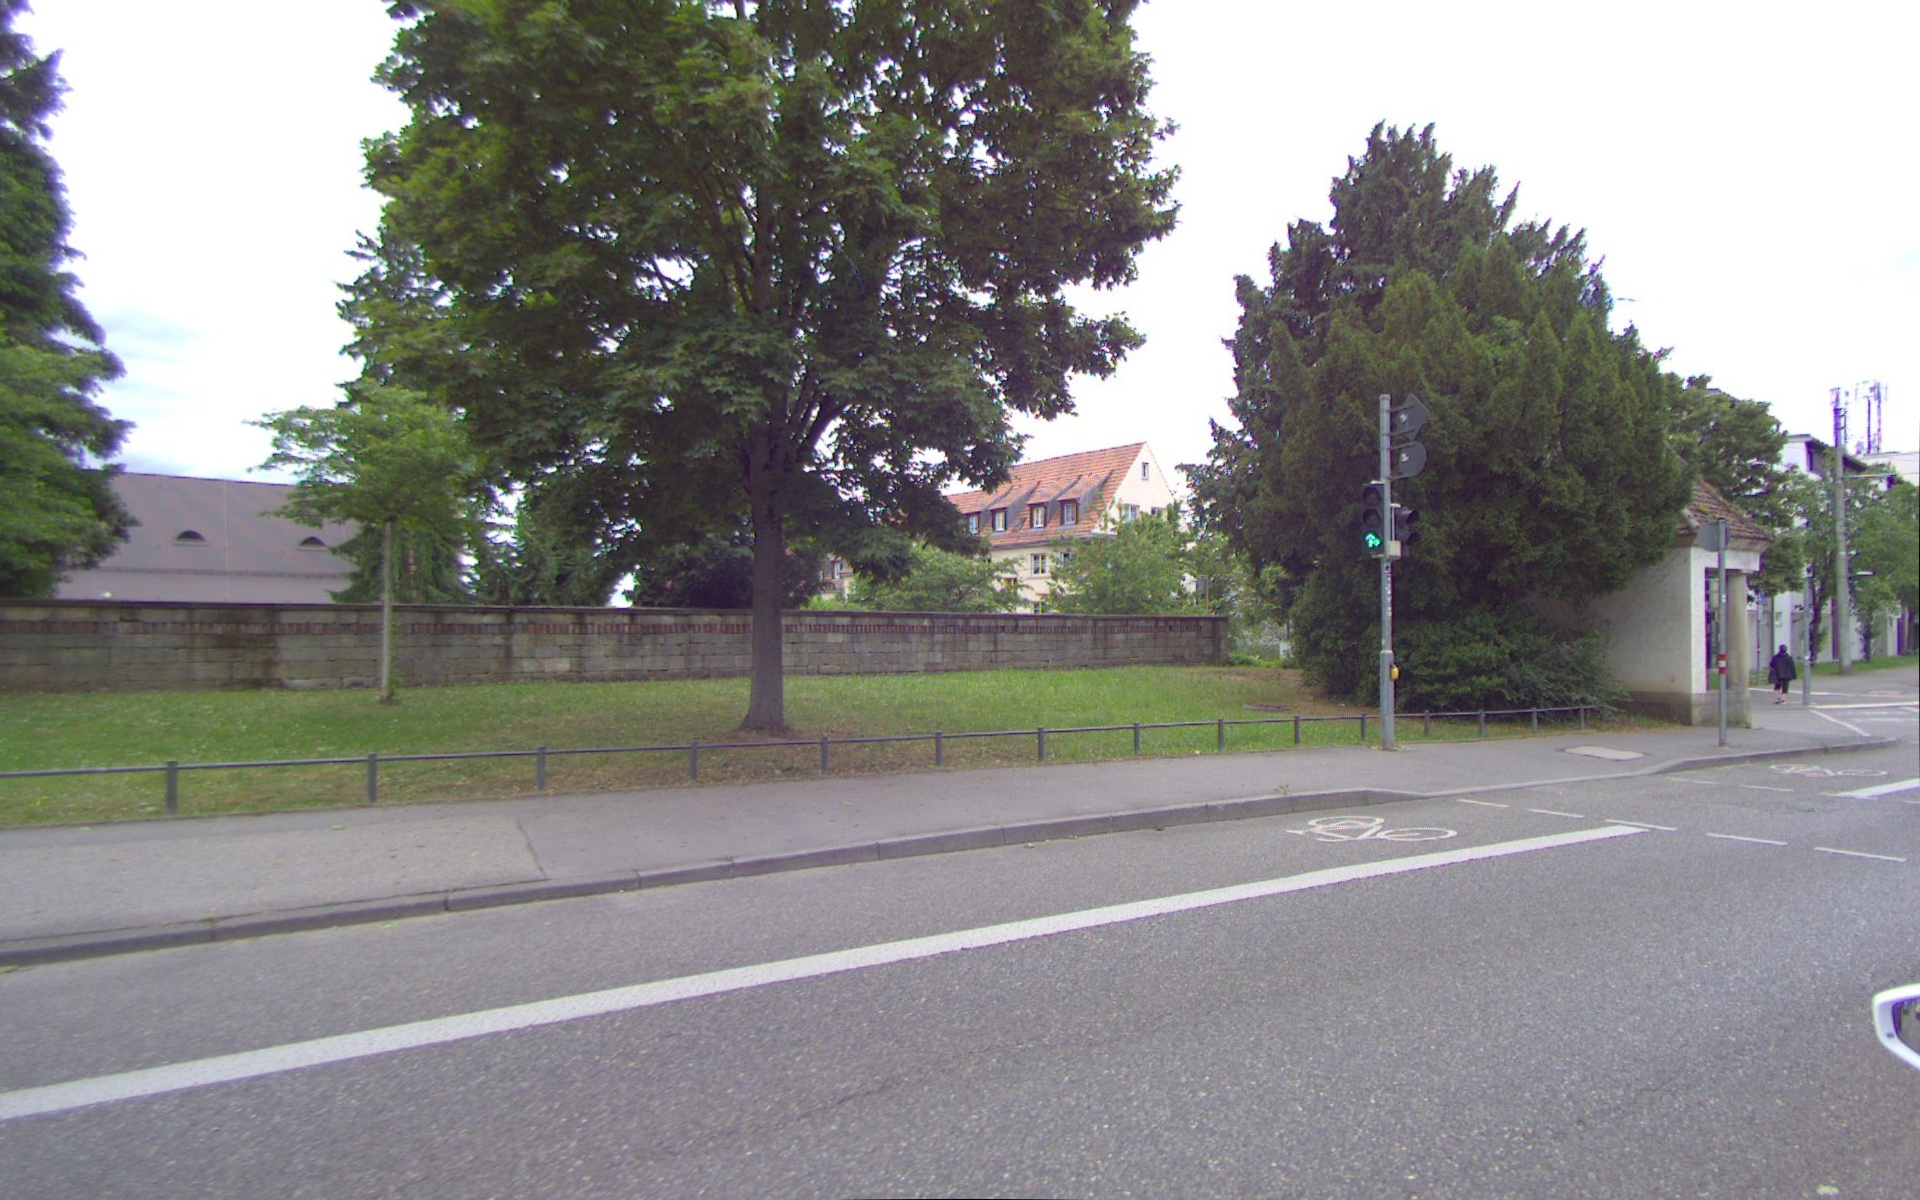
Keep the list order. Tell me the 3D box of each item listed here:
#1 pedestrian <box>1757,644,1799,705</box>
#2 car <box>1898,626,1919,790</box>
[{"bbox_3d":[23.001,2.081,28.253,0.811,1.666,0.670,-1,-2,-36],"label":"pedestrian"},{"bbox_3d":[10.534,0.996,9.365,3.784,1.468,1.655,2,-2,-31],"label":"car"}]
